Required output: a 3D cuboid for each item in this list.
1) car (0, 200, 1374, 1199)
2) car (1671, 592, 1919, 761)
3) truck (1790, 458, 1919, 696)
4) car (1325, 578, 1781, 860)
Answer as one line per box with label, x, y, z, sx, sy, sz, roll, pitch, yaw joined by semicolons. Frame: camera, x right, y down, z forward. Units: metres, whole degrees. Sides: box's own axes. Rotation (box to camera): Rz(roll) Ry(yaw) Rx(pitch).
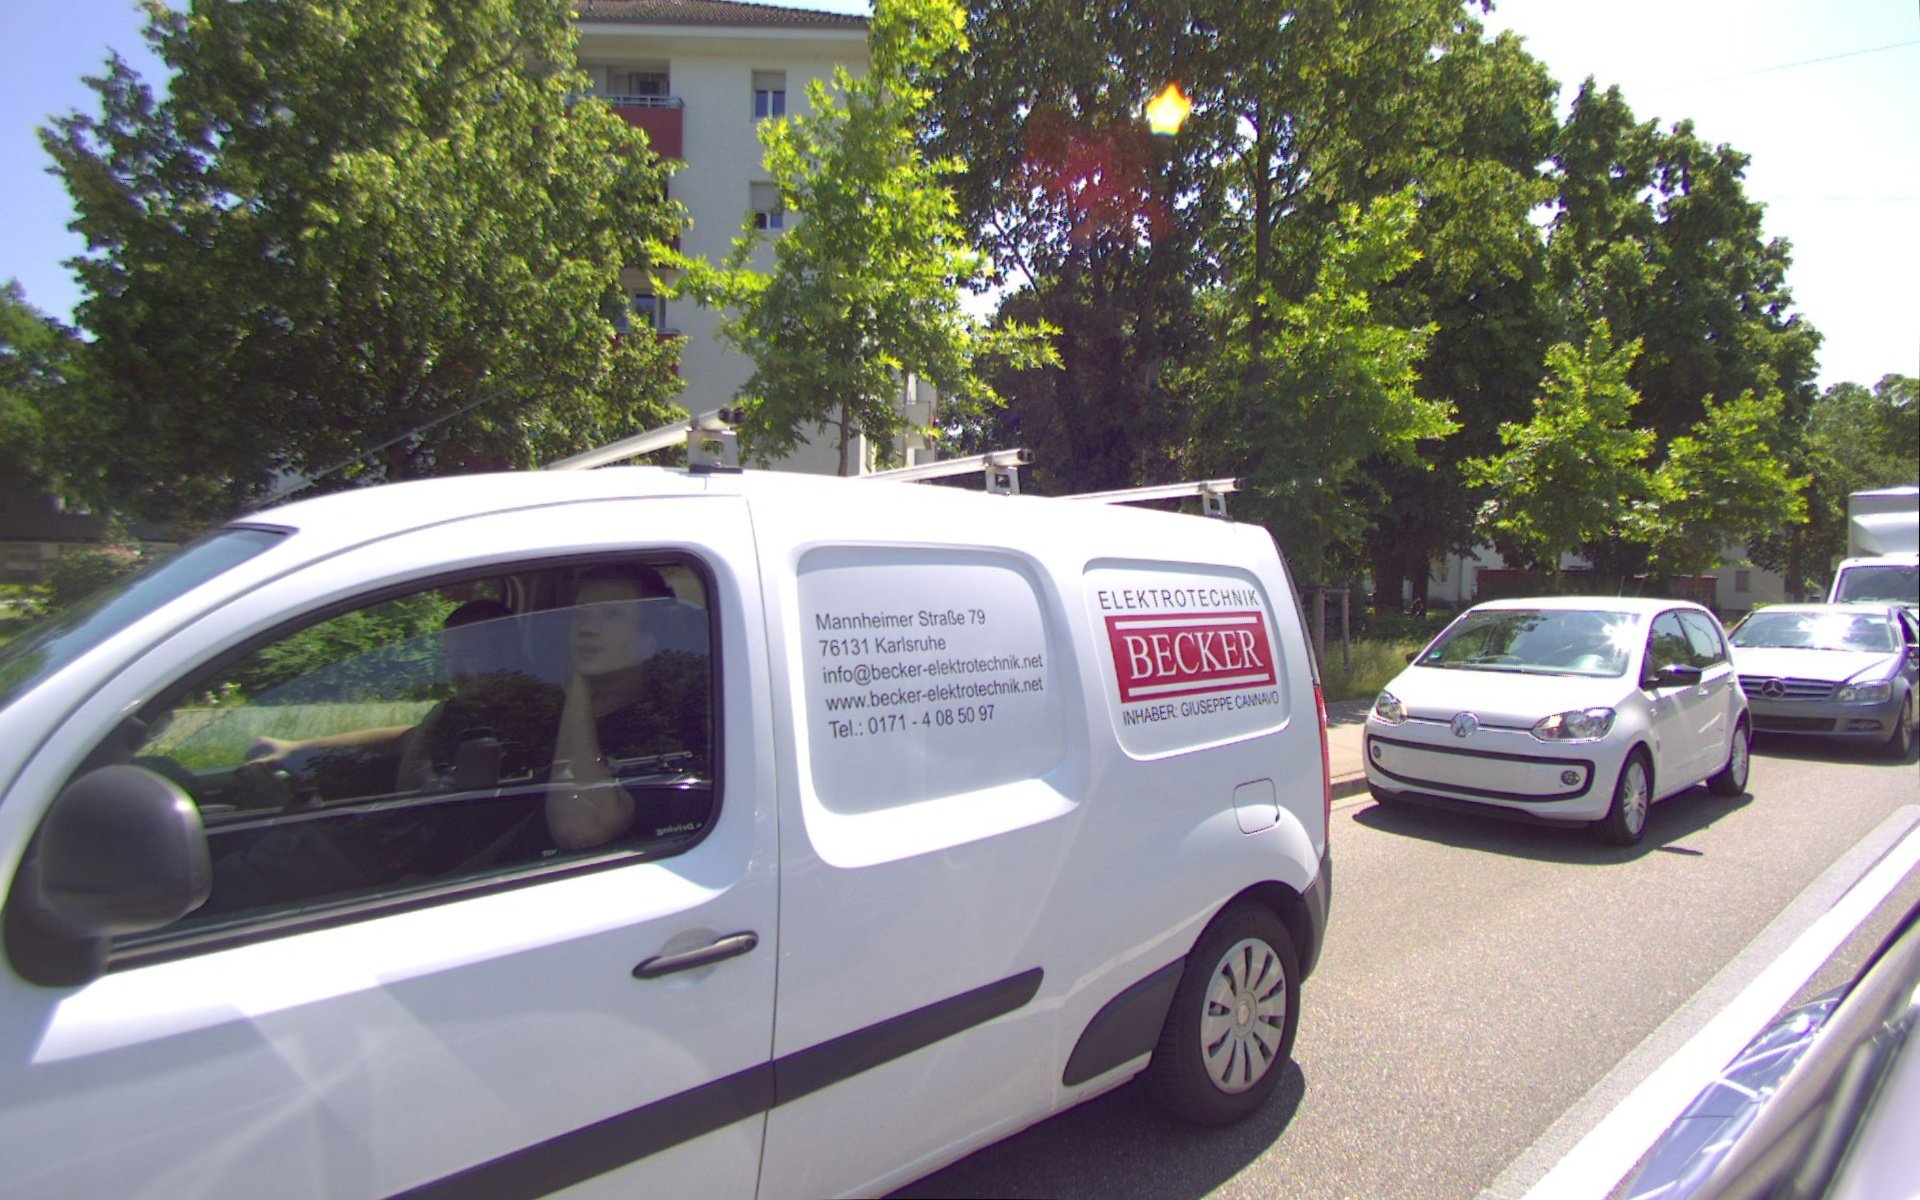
car;-0.997;0.451;2.534;4.370;1.849;1.997;0;1;-41
car;9.230;0.651;10.738;4.016;1.426;1.839;0;1;-41
truck;16.512;-0.341;16.973;7.778;3.387;2.434;0;1;-39
car;4.396;0.618;7.287;3.705;1.497;1.729;0;1;-41
